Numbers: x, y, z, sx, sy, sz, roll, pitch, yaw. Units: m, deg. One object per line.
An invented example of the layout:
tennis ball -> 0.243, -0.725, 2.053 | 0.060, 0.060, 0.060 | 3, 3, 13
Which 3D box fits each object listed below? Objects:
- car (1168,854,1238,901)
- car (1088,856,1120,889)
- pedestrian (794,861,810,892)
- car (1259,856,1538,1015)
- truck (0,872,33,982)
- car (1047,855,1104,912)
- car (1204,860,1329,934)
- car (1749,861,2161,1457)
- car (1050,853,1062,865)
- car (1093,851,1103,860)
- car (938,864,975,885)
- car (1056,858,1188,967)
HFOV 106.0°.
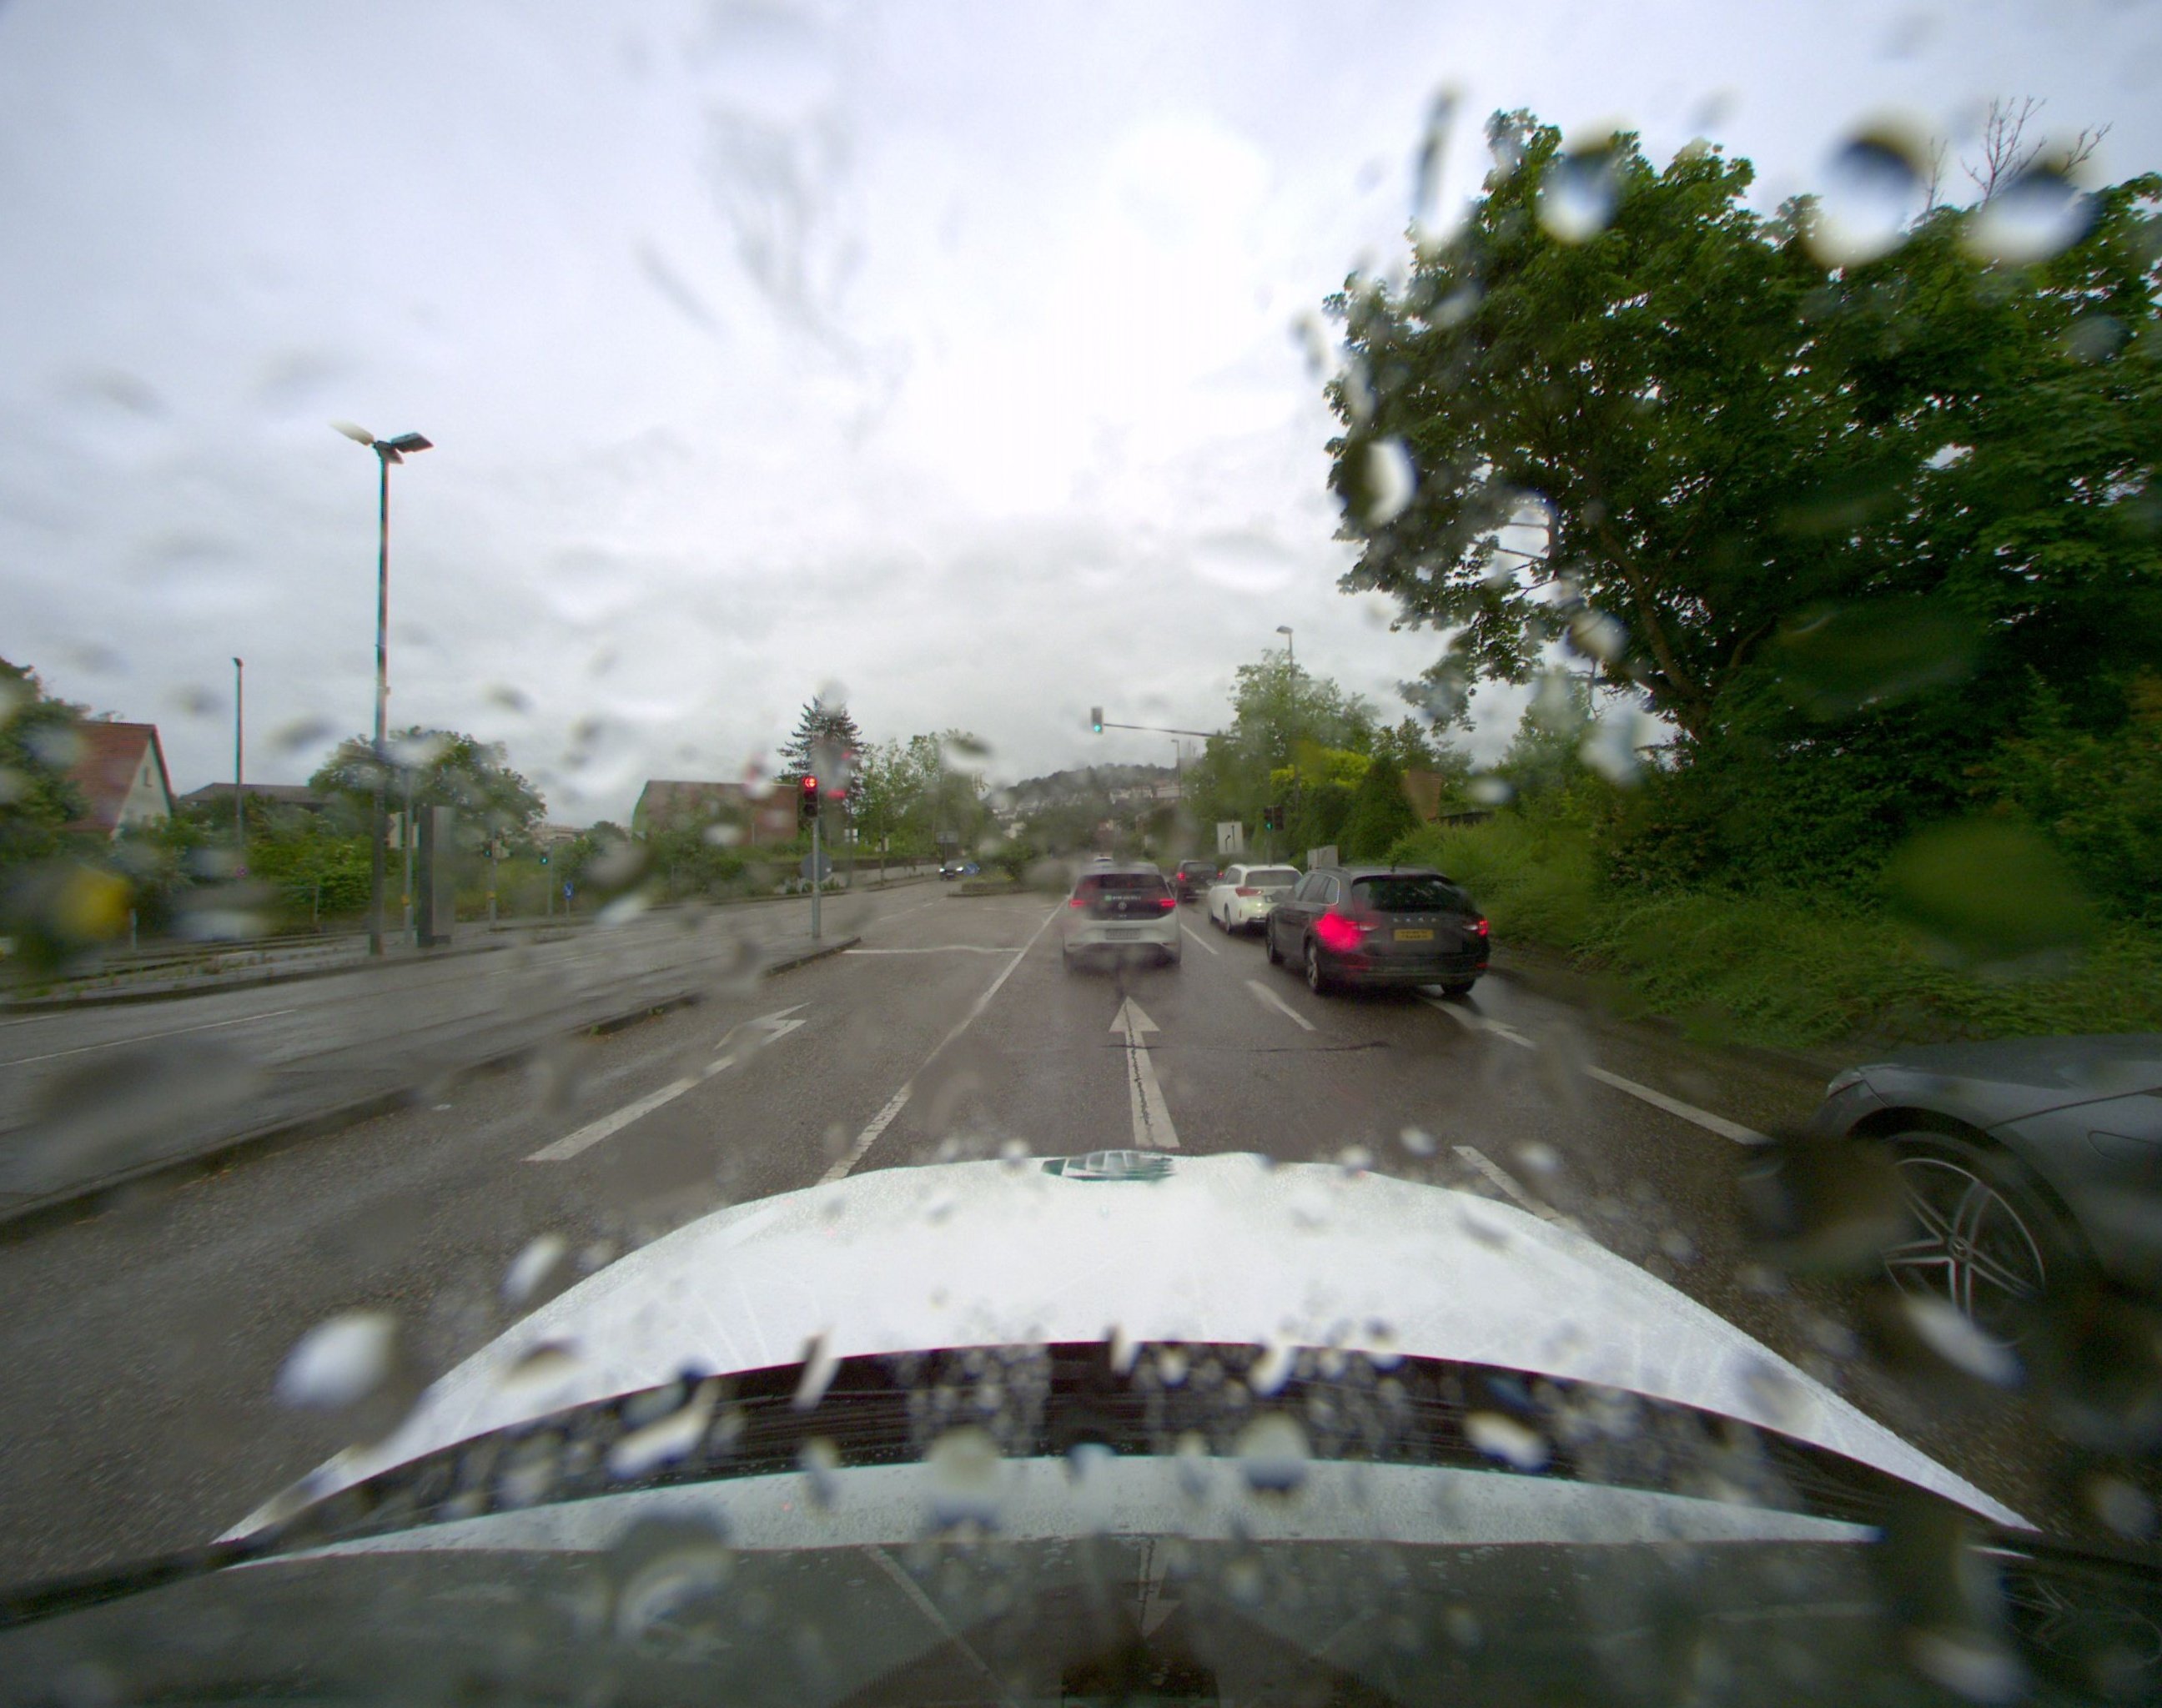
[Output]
car -> 4.331, 0.816, 29.456 | 1.986, 1.453, 3.772 | -4, -1, 2
car -> 1.472, 1.179, 52.370 | 1.986, 2.014, 4.001 | 0, -1, 2
pedestrian -> -15.200, 1.230, 44.409 | 0.546, 1.642, 0.503 | -4, -1, 32
car -> 3.574, 0.818, 10.187 | 1.945, 1.507, 4.612 | 1, -1, 3
truck -> -27.492, 1.820, 17.152 | 6.197, 2.538, 2.206 | -3, -1, -32
car -> -0.167, 0.820, 24.711 | 1.562, 1.530, 3.998 | -1, 0, -1
car -> 3.897, 0.859, 17.840 | 1.841, 1.410, 4.303 | -1, -1, 2
car -> 3.498, 0.726, 0.940 | 1.824, 1.444, 4.552 | 0, -1, 2
car -> -4.237, 0.898, 139.948 | 1.987, 2.014, 3.999 | 0, -1, 0
car -> 3.167, 0.285, 154.401 | 1.732, 1.464, 3.999 | 0, -1, 0
car -> -9.450, 1.534, 62.147 | 1.943, 1.478, 4.297 | -4, -1, 2
car -> 0.642, 0.847, 13.525 | 1.822, 1.500, 4.170 | -1, -1, 2
